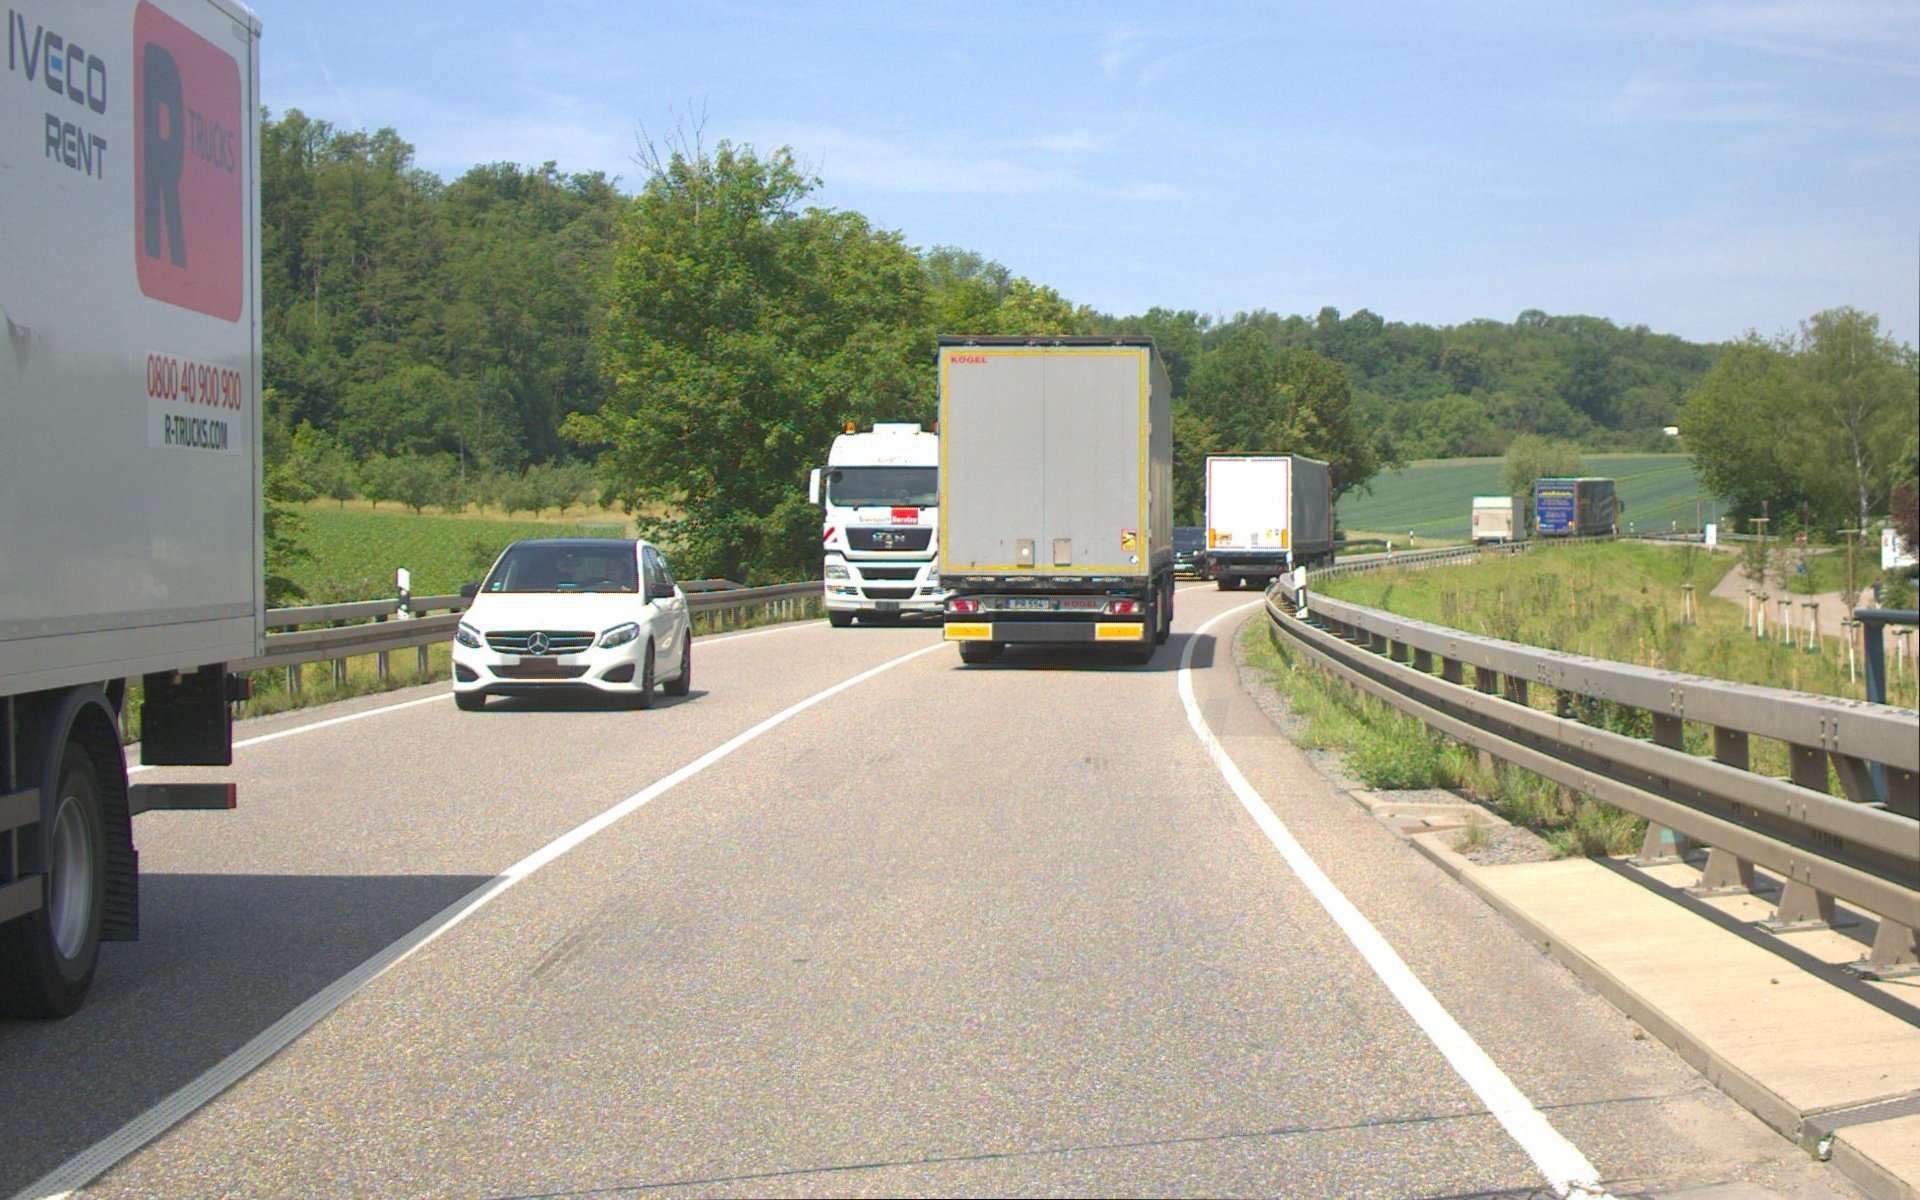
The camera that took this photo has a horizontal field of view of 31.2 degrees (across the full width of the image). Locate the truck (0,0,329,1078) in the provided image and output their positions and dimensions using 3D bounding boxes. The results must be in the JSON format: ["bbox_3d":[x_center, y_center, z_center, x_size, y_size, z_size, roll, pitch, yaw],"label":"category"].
[{"bbox_3d":[-4.149,-0.555,9.249,2.914,3.790,9.708,0,1,1],"label":"truck"}]

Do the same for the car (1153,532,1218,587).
[{"bbox_3d":[7.850,-1.422,119.244,1.922,1.853,5.174,0,1,8],"label":"car"}]

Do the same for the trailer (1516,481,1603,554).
[{"bbox_3d":[36.550,-4.973,209.147,3.651,4.248,12.184,0,1,17],"label":"trailer"}]

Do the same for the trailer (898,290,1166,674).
[{"bbox_3d":[1.033,-1.561,47.213,3.118,4.484,13.886,0,1,2],"label":"trailer"}]

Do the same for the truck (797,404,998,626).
[{"bbox_3d":[-1.078,-1.523,64.447,3.119,3.944,6.621,0,0,5],"label":"truck"}]

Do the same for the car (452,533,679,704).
[{"bbox_3d":[-3.653,0.151,32.408,1.757,1.506,4.000,0,0,-1],"label":"car"}]

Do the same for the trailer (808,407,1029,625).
[{"bbox_3d":[-0.607,-1.554,70.294,3.119,3.966,15.354,0,0,5],"label":"trailer"}]

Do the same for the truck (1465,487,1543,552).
[{"bbox_3d":[29.704,-4.345,187.190,3.225,3.354,11.867,0,1,14],"label":"truck"}]

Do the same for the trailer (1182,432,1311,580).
[{"bbox_3d":[9.057,-2.794,107.061,3.366,4.302,13.860,0,1,7],"label":"trailer"}]
